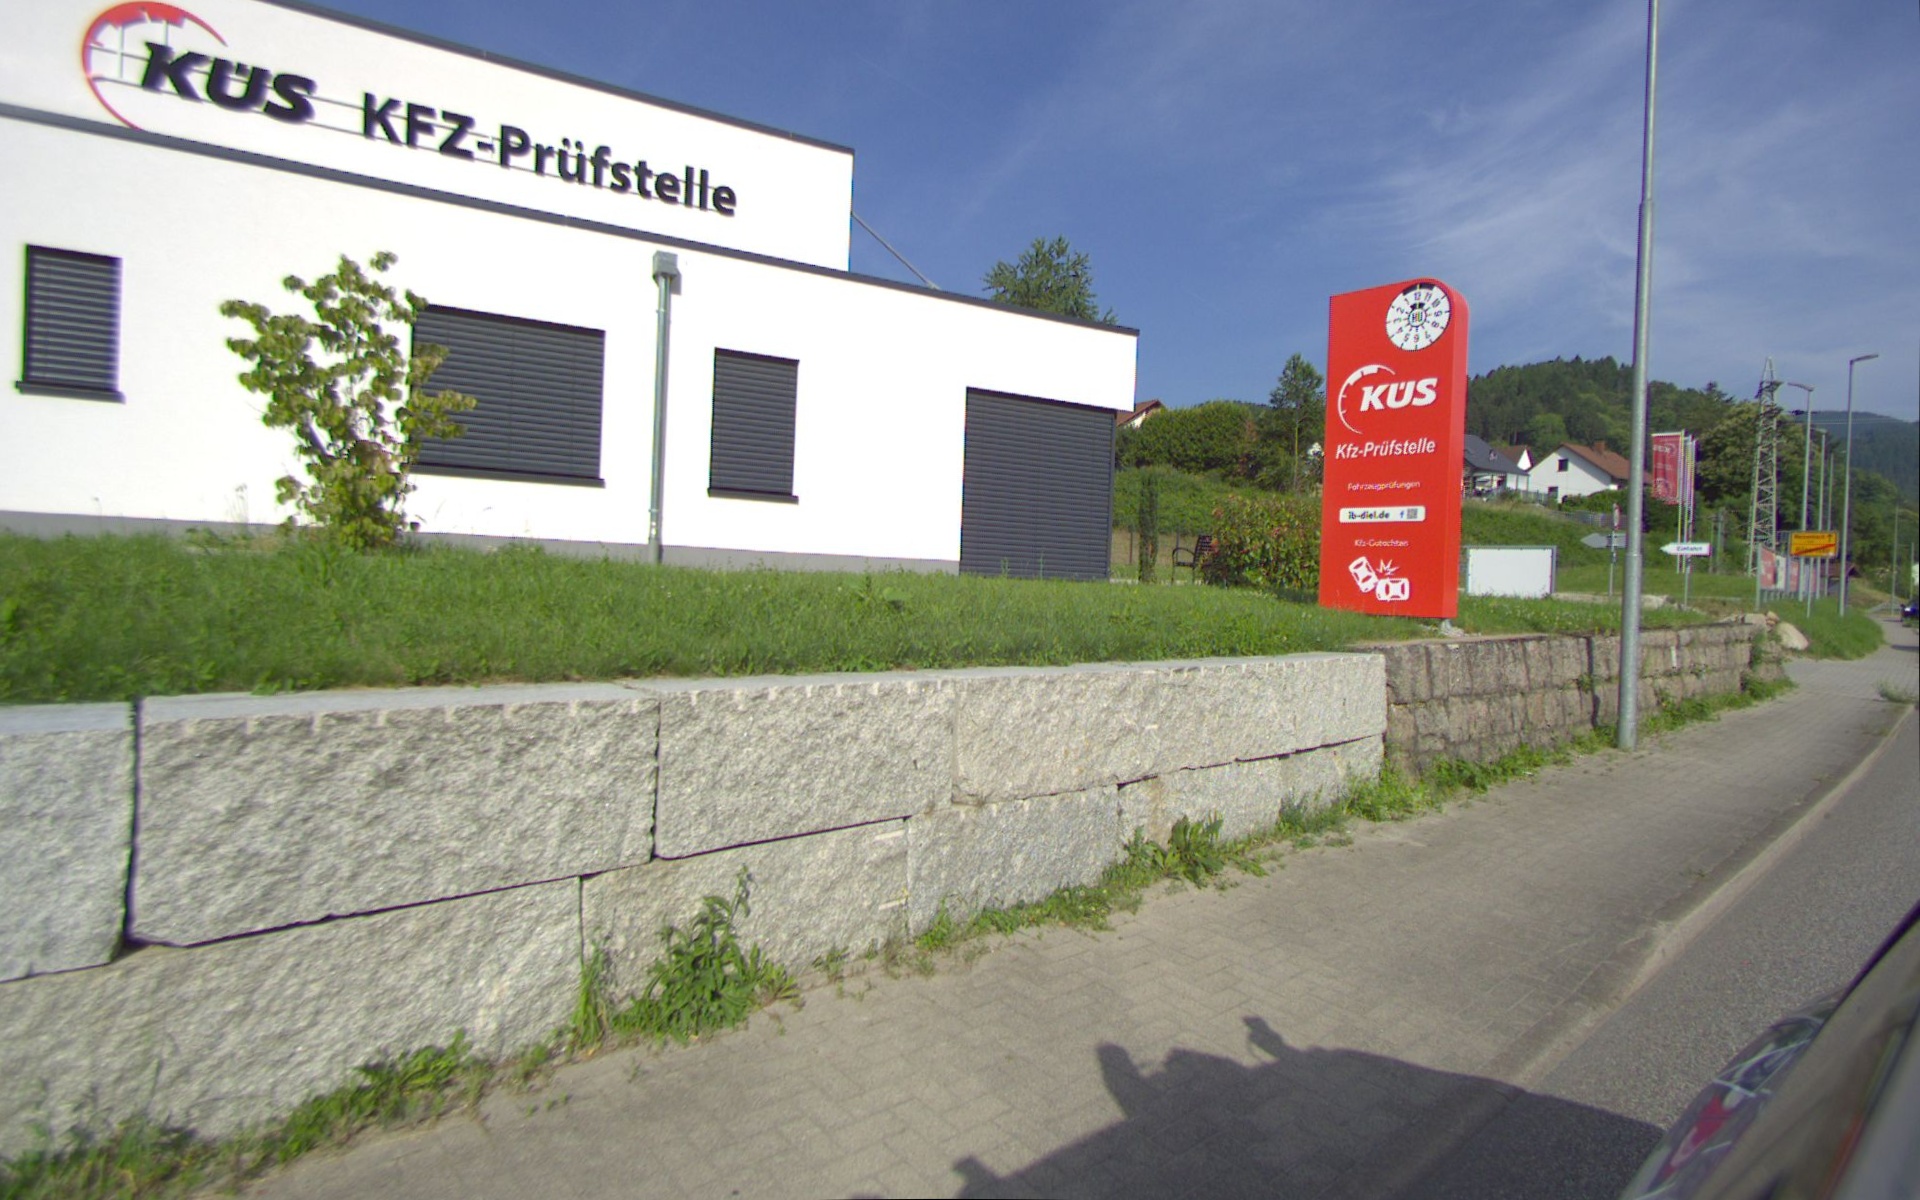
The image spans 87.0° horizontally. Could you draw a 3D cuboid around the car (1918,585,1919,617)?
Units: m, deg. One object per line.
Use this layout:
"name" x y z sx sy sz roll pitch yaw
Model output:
"car" 53.329 0.099 55.113 1.609 1.652 3.762 2 0 43
